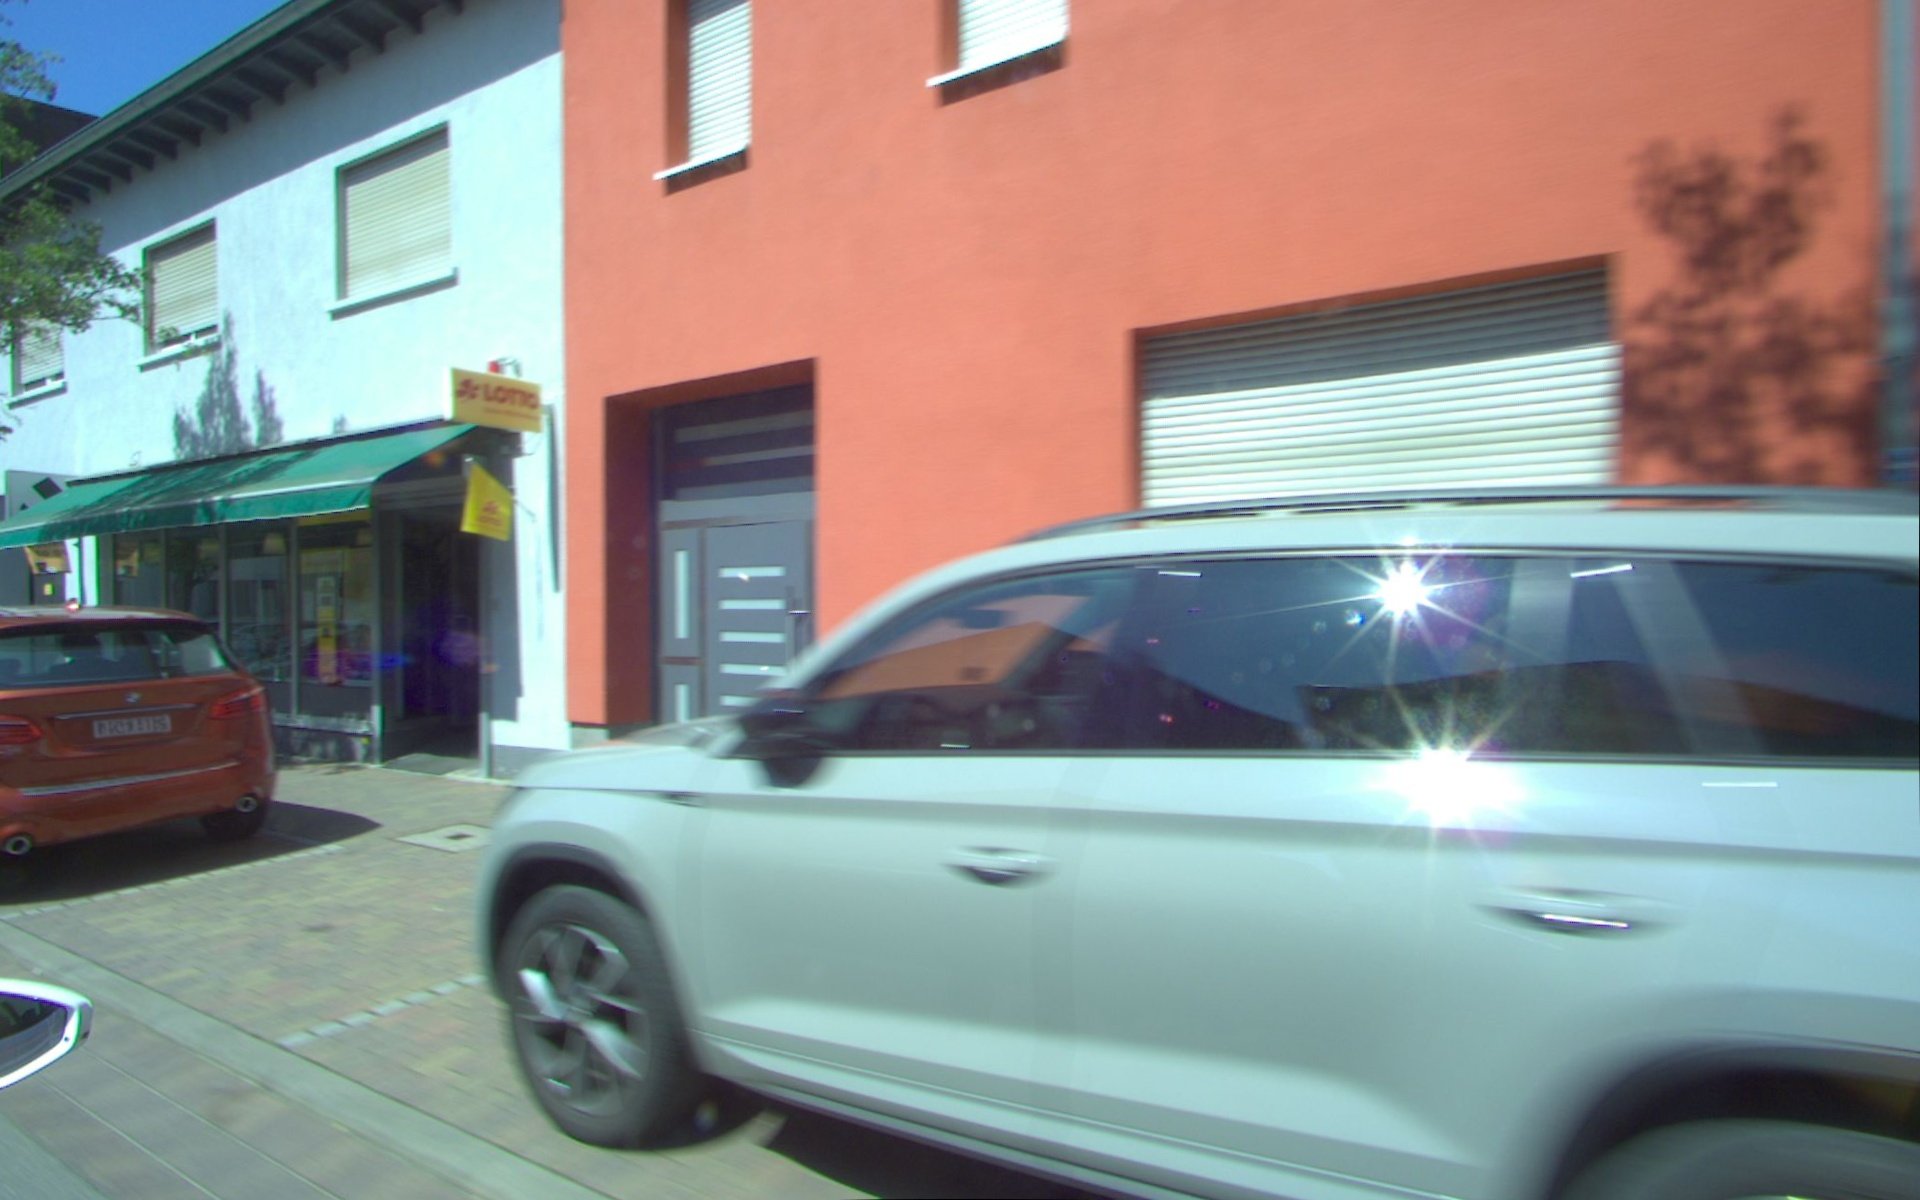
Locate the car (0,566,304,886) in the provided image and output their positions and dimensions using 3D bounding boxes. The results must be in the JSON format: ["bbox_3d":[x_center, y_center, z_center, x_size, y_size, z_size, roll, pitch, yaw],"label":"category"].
[{"bbox_3d":[-6.313,0.640,6.487,4.026,1.609,1.827,0,0,30],"label":"car"}]

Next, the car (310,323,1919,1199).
[{"bbox_3d":[0.396,0.517,2.799,4.592,1.707,1.864,0,0,31],"label":"car"}]

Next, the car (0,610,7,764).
[{"bbox_3d":[-11.561,0.897,10.226,3.682,1.531,1.735,-3,-4,31],"label":"car"}]
